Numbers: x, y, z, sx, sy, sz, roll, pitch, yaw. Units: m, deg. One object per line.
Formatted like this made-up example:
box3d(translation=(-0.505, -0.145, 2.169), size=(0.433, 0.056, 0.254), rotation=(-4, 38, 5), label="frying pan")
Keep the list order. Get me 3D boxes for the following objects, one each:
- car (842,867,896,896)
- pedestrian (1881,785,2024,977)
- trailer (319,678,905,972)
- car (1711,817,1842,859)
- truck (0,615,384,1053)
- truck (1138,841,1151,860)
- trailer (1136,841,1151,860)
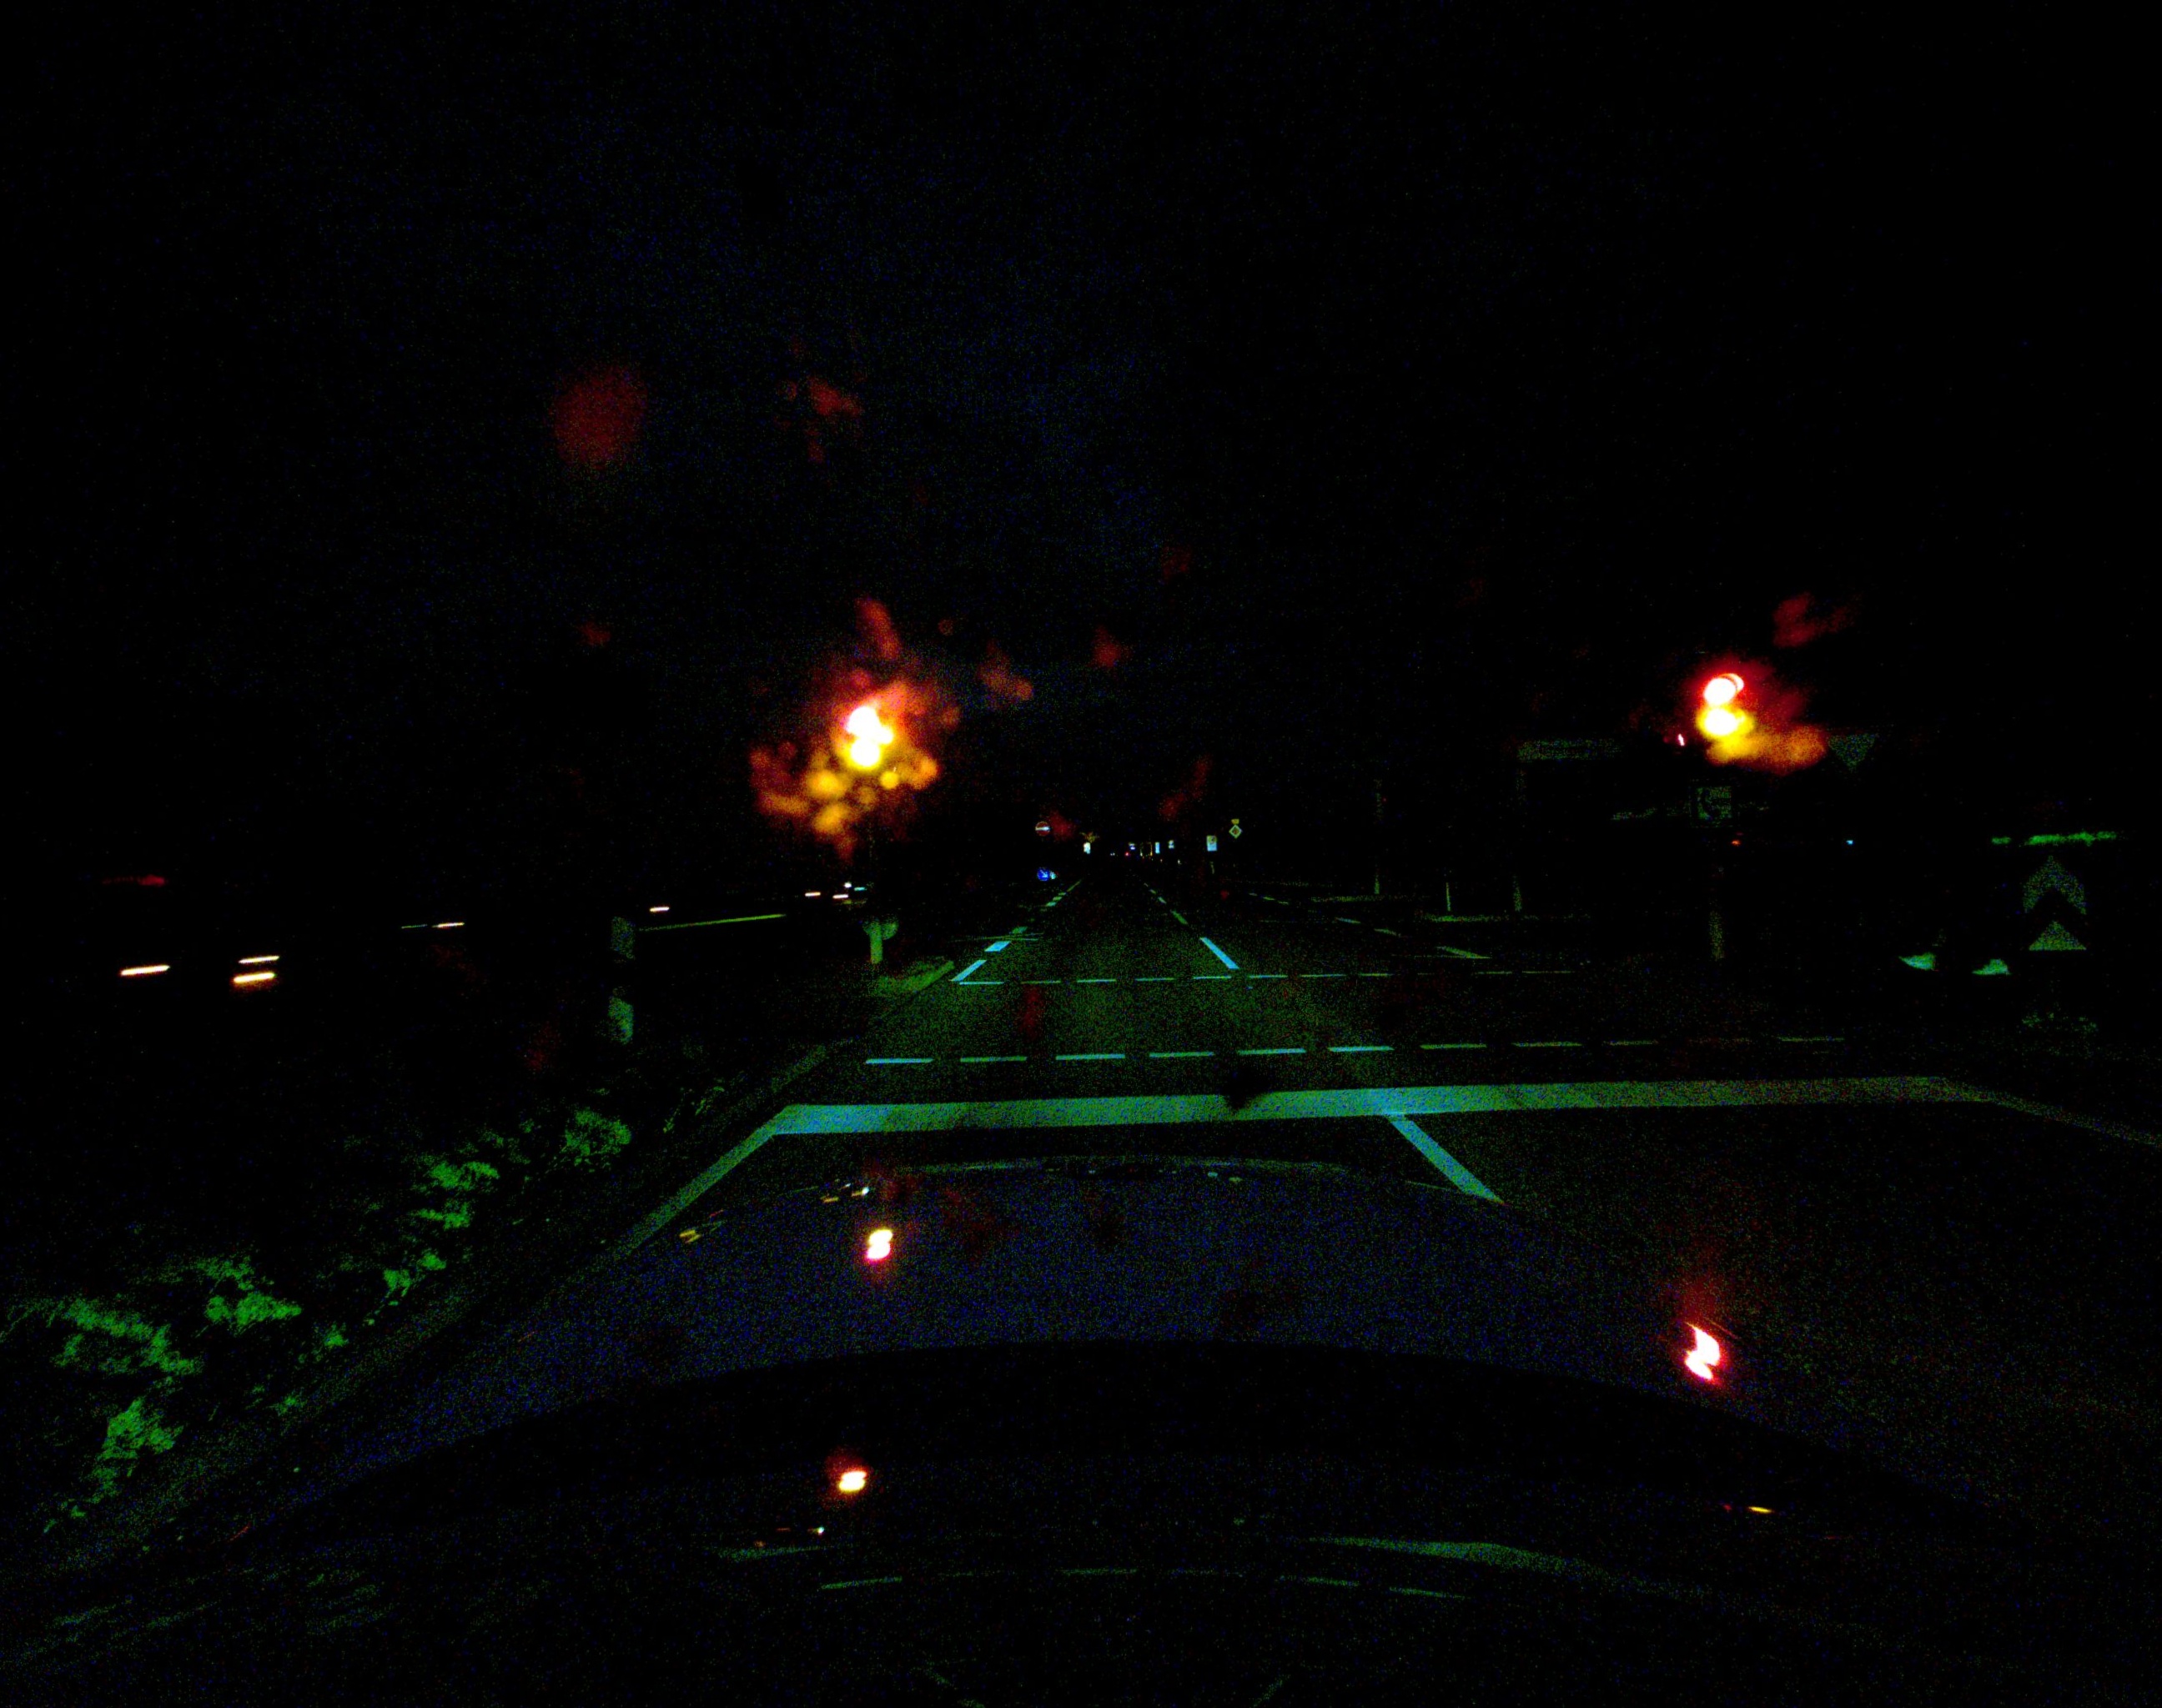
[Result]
box3d(translation=(-10.952, 1.409, 42.349), size=(1.646, 1.384, 4.031), rotation=(0, -1, 1), label="car")
box3d(translation=(9.527, 0.289, 8.932), size=(0.775, 2.014, 0.714), rotation=(0, -1, 3), label="pedestrian")
box3d(translation=(-7.820, -0.495, 15.091), size=(2.552, 3.943, 8.932), rotation=(-3, 0, 42), label="trailer")
box3d(translation=(31.654, -0.723, 37.252), size=(4.419, 1.664, 2.013), rotation=(-3, 0, 39), label="car")
box3d(translation=(-11.839, -0.163, 6.179), size=(2.707, 4.117, 10.379), rotation=(-2, -1, 12), label="truck")
box3d(translation=(13.563, -0.713, 174.713), size=(2.569, 4.071, 6.135), rotation=(-1, 0, 3), label="truck")
box3d(translation=(13.847, -0.716, 181.625), size=(2.612, 4.104, 12.944), rotation=(-2, 0, 2), label="trailer")
